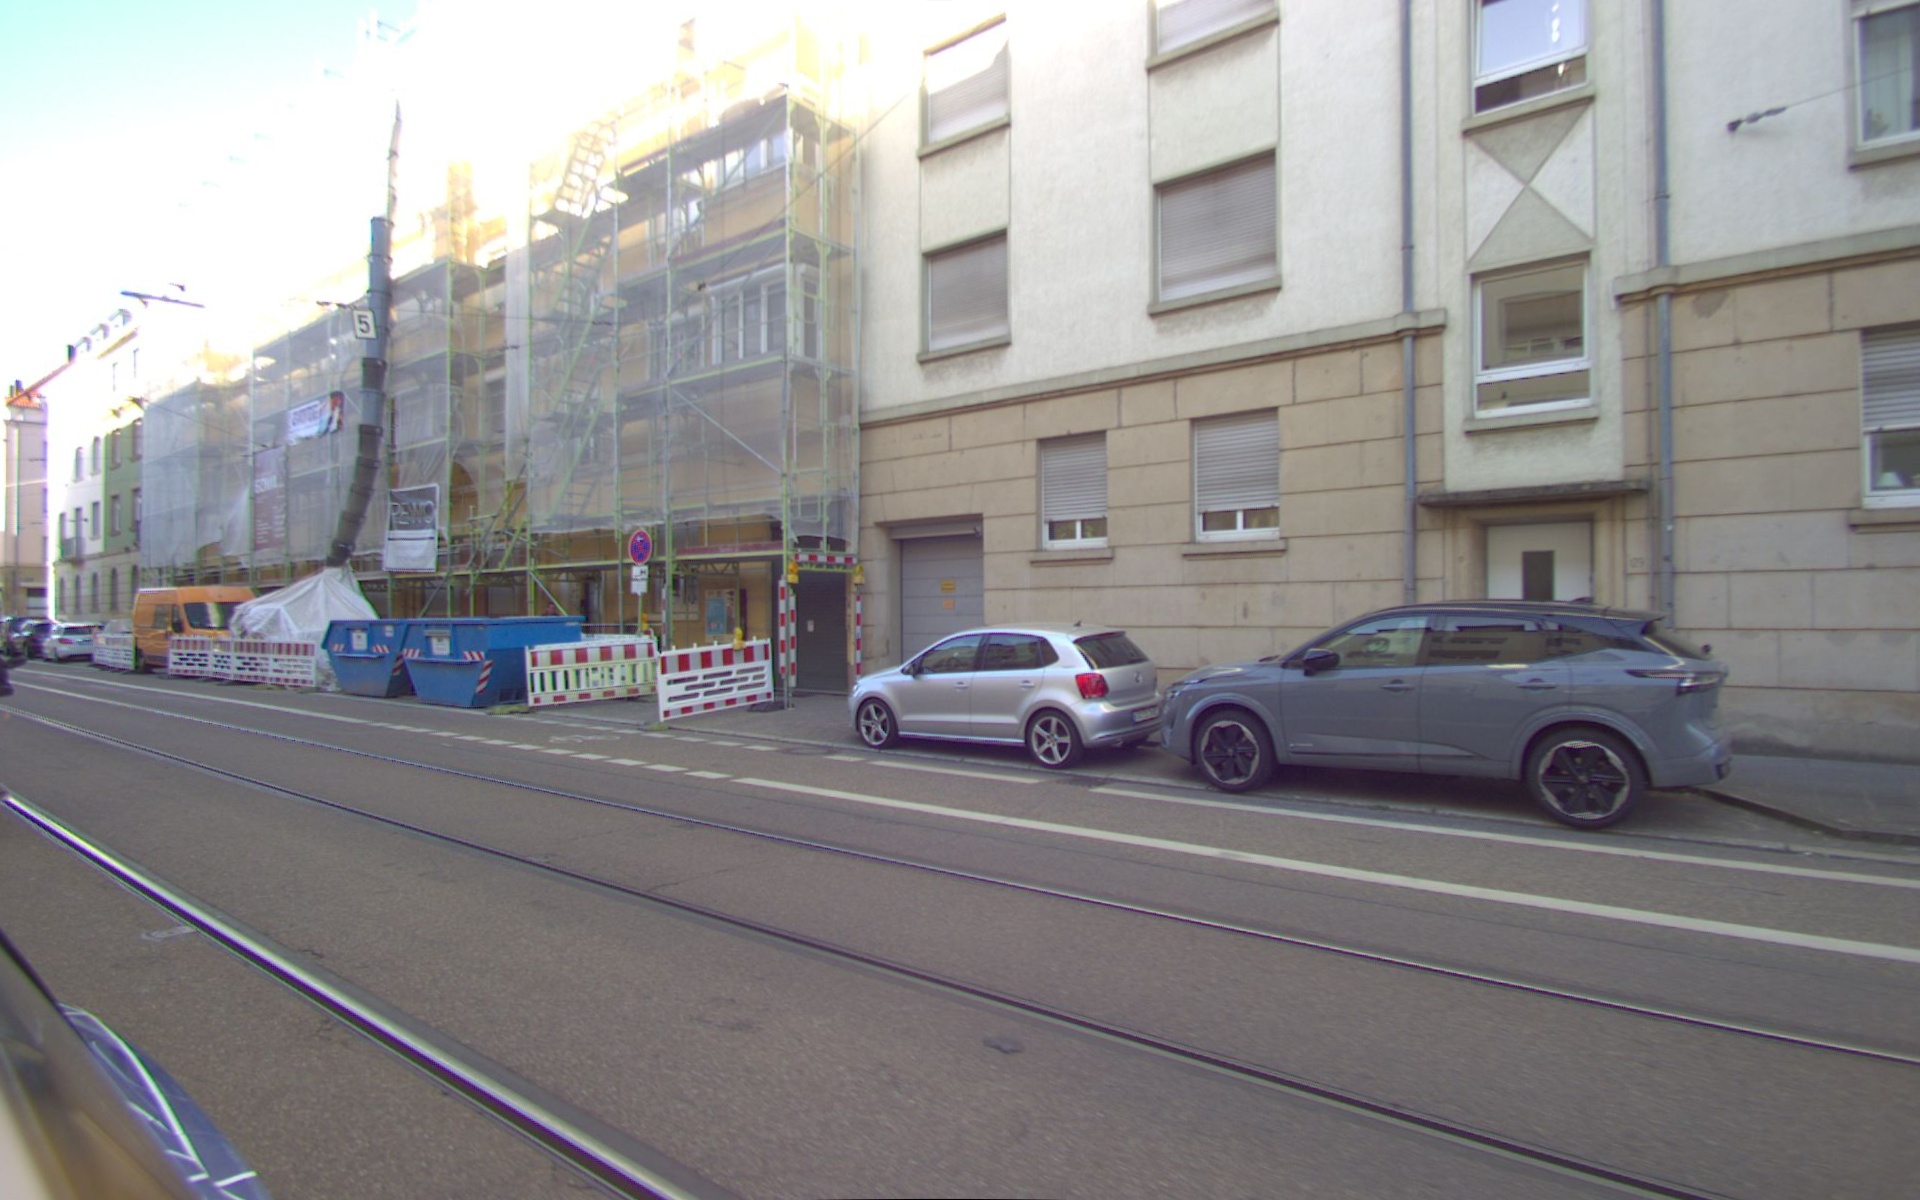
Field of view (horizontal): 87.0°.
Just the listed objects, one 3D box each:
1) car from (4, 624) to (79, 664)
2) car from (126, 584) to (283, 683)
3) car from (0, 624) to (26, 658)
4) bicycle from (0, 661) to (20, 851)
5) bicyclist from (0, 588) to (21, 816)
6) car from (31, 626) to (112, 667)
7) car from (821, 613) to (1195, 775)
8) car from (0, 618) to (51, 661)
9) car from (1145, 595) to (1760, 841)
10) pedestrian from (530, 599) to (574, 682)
[{"bbox_3d":[-39.481,1.867,43.478,4.217,1.590,1.682,-1,0,38],"label":"car"},{"bbox_3d":[-21.168,0.918,28.243,5.994,2.488,2.099,-1,-2,39],"label":"car"},{"bbox_3d":[-47.961,2.039,50.406,3.768,1.622,1.775,-2,-2,42],"label":"car"},{"bbox_3d":[-7.186,1.061,7.139,0.729,1.186,1.977,1,-2,-41],"label":"bicycle"},{"bbox_3d":[-7.152,0.707,7.067,0.831,1.566,0.851,1,-2,-42],"label":"bicyclist"},{"bbox_3d":[-34.811,1.775,39.636,3.996,1.523,1.729,-1,-2,39],"label":"car"},{"bbox_3d":[0.431,0.913,11.452,3.996,1.426,1.683,0,2,39],"label":"car"},{"bbox_3d":[-44.096,1.821,47.247,3.764,1.860,1.777,-1,0,38],"label":"car"},{"bbox_3d":[3.932,0.803,8.554,4.401,1.580,1.682,-1,-1,39],"label":"car"},{"bbox_3d":[-8.565,0.841,21.250,0.716,1.707,0.575,-2,-2,39],"label":"pedestrian"}]
